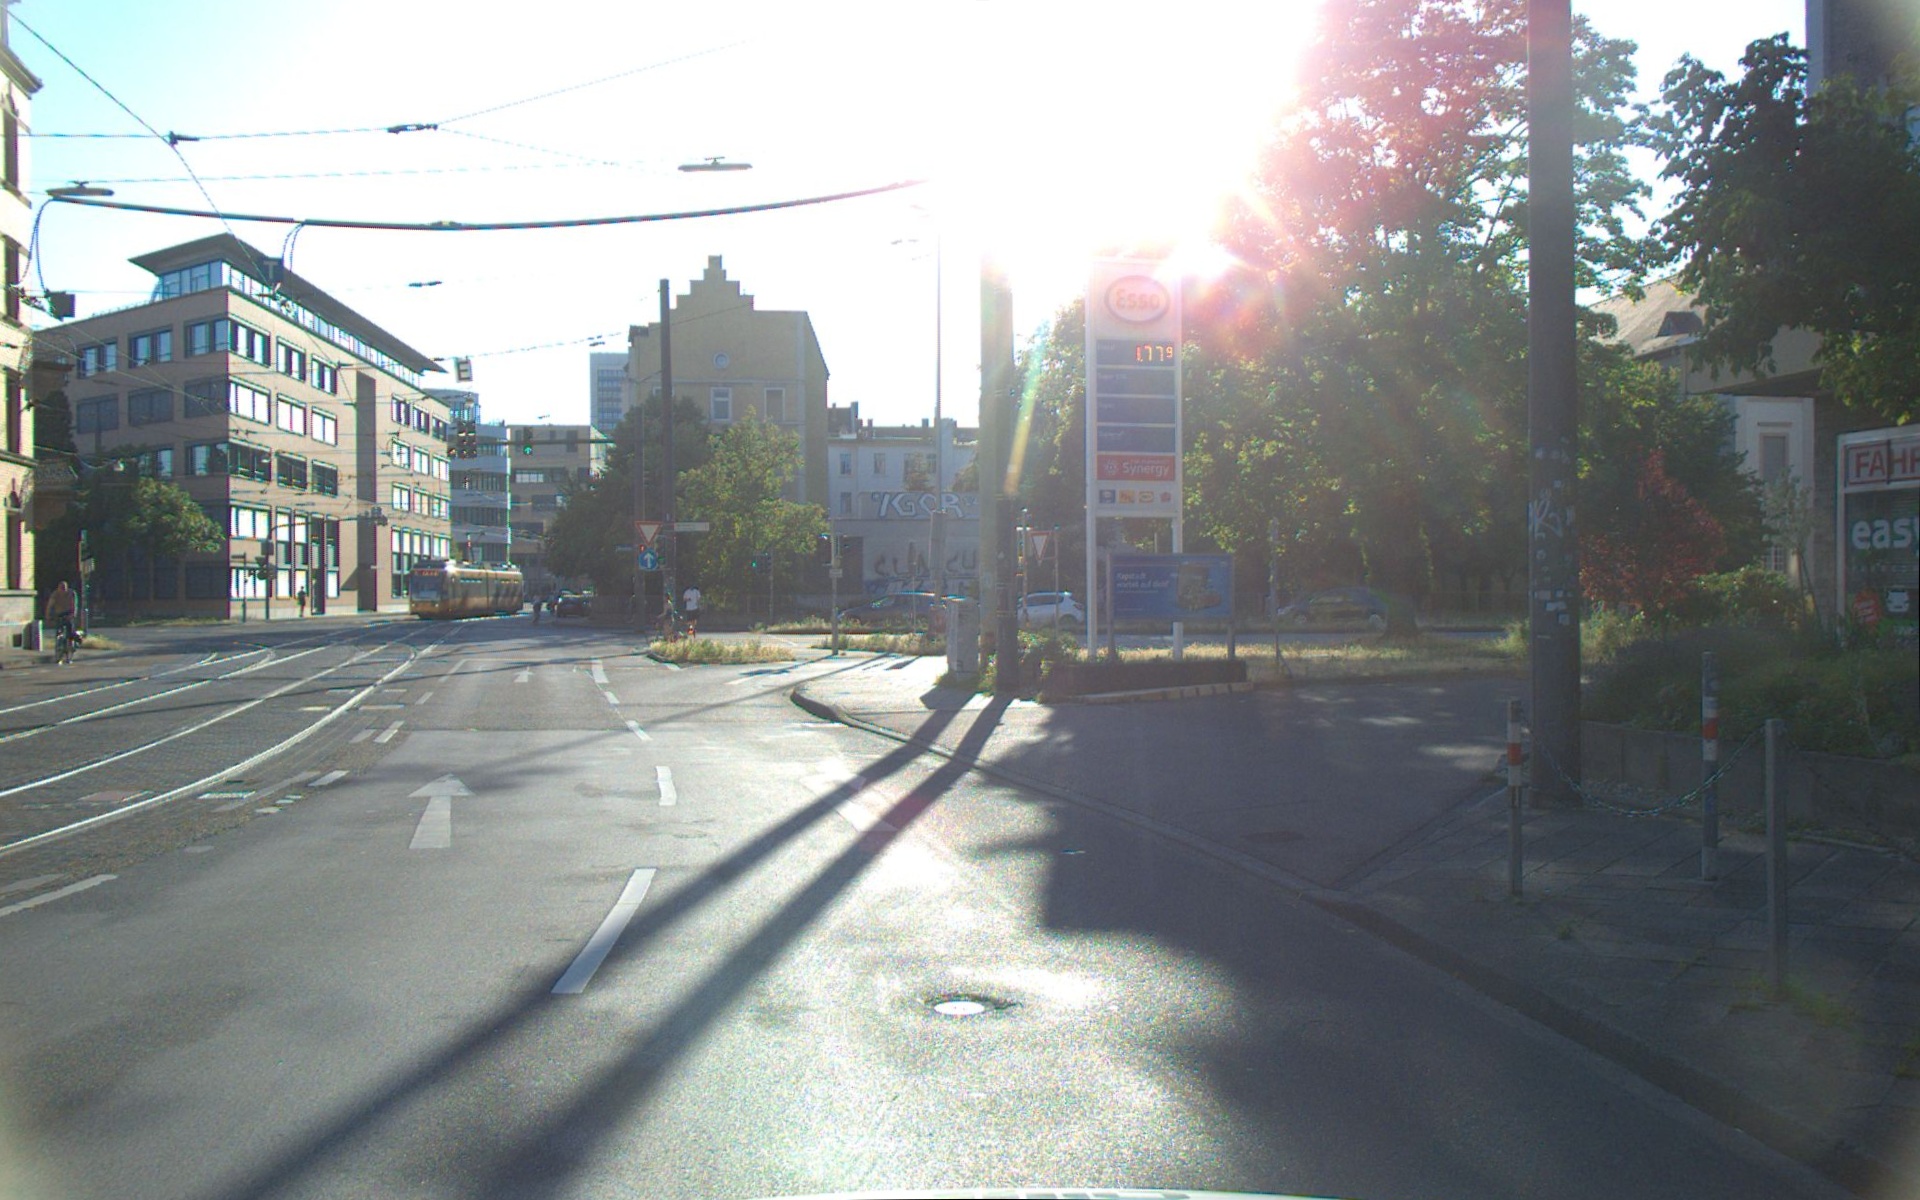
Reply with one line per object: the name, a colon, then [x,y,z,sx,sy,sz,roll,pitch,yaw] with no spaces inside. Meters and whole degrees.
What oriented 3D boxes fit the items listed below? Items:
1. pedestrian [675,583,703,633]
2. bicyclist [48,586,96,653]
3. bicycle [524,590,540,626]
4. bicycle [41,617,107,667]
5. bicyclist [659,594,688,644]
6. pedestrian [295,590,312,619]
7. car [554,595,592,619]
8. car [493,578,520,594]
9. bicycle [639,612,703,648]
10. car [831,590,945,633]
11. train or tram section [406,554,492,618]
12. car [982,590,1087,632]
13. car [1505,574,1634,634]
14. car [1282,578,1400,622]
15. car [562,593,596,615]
pedestrian: [-9.516,0.280,58.165,0.908,1.721,0.776,-1,0,-7]
bicyclist: [-21.064,0.458,39.255,0.829,1.540,0.798,-1,0,-16]
bicycle: [-21.837,0.406,84.440,0.554,1.838,1.357,-1,0,-5]
bicycle: [-21.011,0.974,39.267,0.931,1.117,1.990,-1,0,-16]
bicyclist: [-8.273,0.548,47.761,0.789,1.438,0.622,-1,-1,-10]
pedestrian: [-41.715,0.278,105.170,0.790,1.874,0.735,-1,0,-5]
car: [-25.566,0.465,109.350,1.956,1.489,3.994,-1,0,-7]
car: [-42.289,-1.318,154.360,1.760,1.434,3.995,-1,0,-6]
bicycle: [-8.331,0.863,47.737,1.800,1.002,0.732,-1,0,-11]
car: [-2.619,0.421,60.924,3.902,1.478,1.811,-1,0,8]
train or tram section: [-31.643,-0.820,103.038,2.198,3.637,14.260,-1,0,-5]
car: [2.881,0.420,63.889,3.902,1.534,1.674,-1,0,7]
car: [21.848,0.139,59.407,3.904,2.049,1.935,-1,0,2]
car: [13.511,-0.015,58.802,3.903,1.478,1.688,-1,0,5]
car: [-27.455,0.271,119.368,1.956,1.512,3.994,-1,0,-7]
